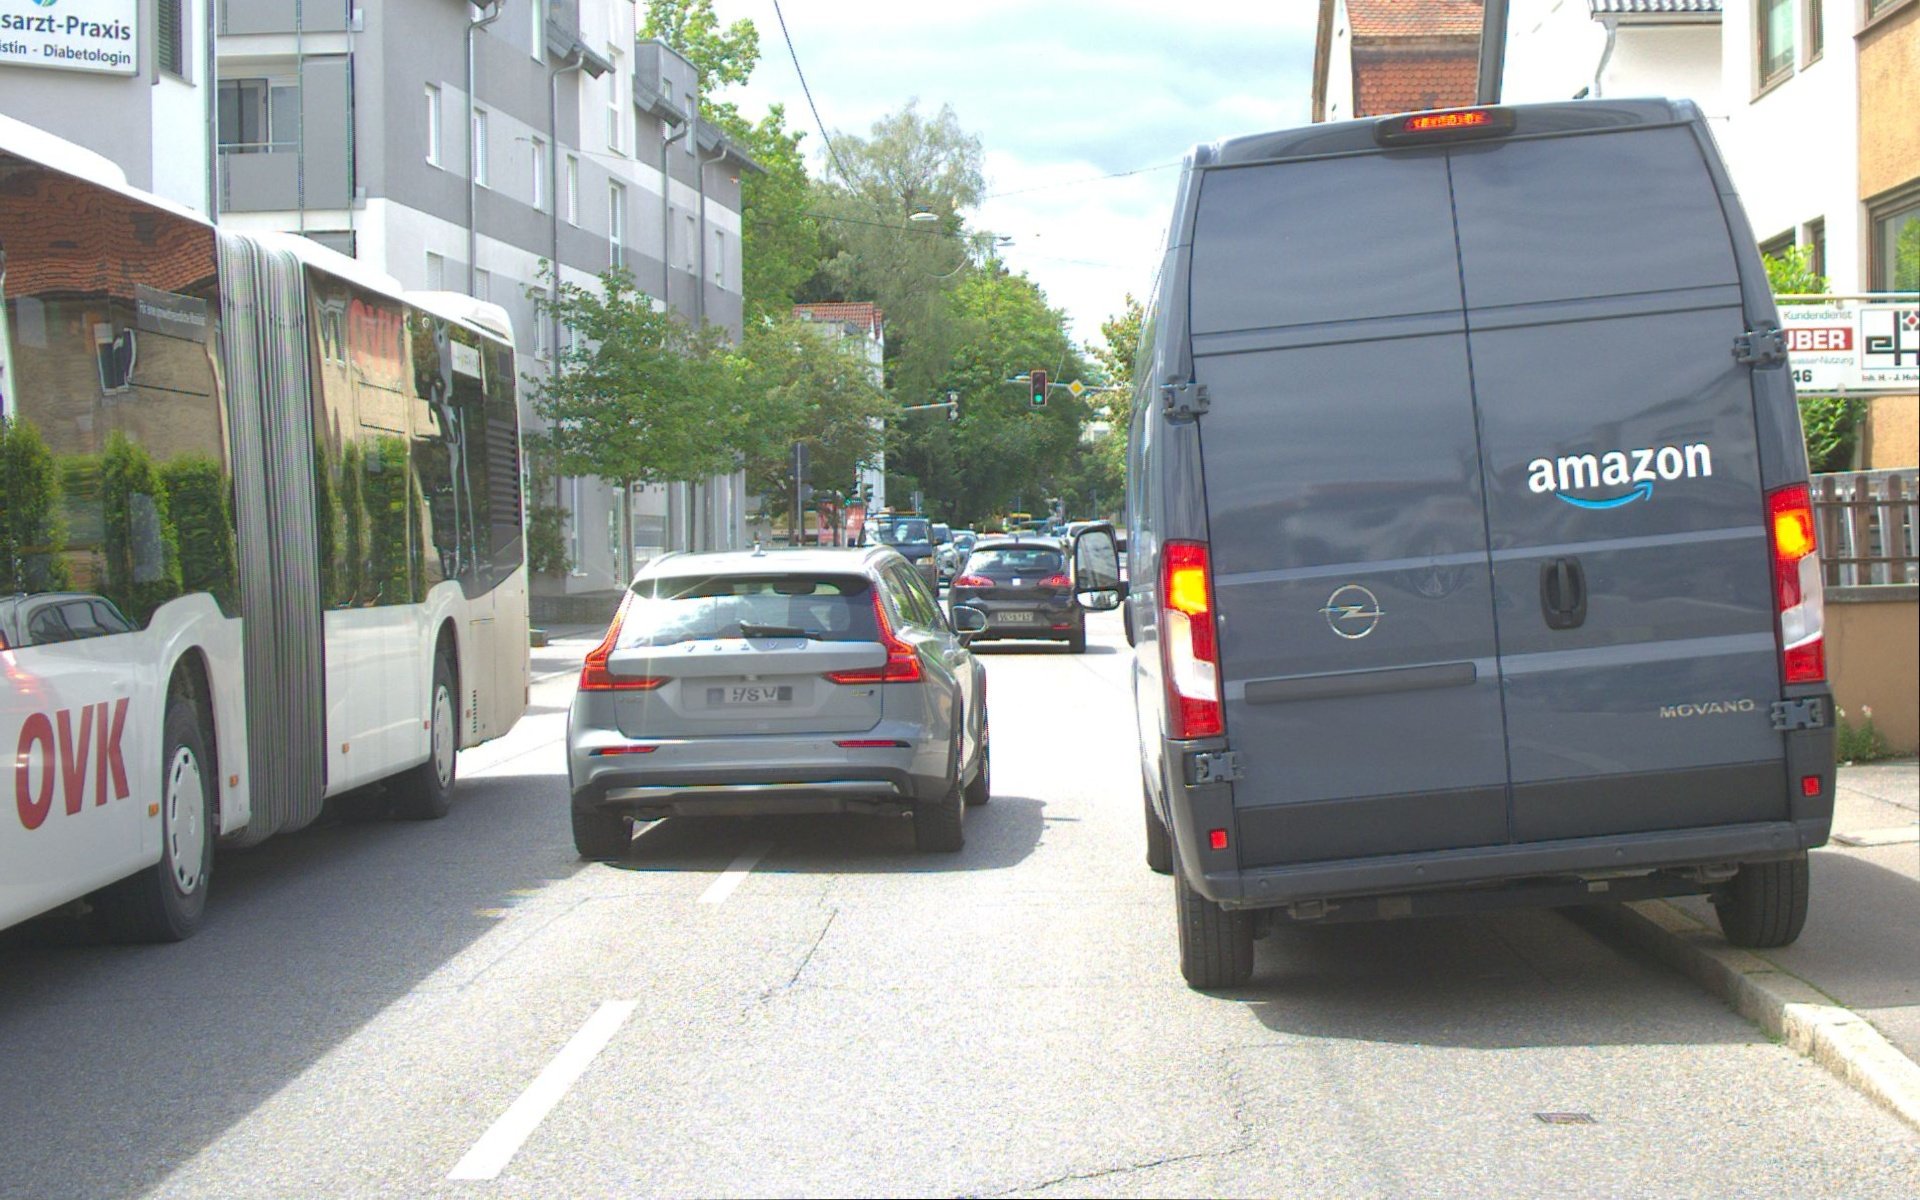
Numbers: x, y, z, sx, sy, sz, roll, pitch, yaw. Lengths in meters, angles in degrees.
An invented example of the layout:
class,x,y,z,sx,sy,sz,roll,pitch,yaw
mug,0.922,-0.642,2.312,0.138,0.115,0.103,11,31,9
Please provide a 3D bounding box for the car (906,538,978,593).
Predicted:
class,x,y,z,sx,sy,sz,roll,pitch,yaw
car,-0.529,-1.057,104.423,2.105,1.590,4.650,-1,1,1

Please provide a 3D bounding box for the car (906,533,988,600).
class,x,y,z,sx,sy,sz,roll,pitch,yaw
car,-0.325,-0.927,92.452,2.105,1.704,4.766,-1,1,1

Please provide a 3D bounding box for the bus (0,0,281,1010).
class,x,y,z,sx,sy,sz,roll,pitch,yaw
bus,-4.278,-0.293,9.623,2.682,3.153,10.185,-1,1,0

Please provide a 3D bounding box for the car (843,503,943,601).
class,x,y,z,sx,sy,sz,roll,pitch,yaw
car,-1.524,-1.139,80.031,2.105,2.114,4.766,-3,1,1

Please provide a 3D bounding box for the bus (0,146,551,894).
class,x,y,z,sx,sy,sz,roll,pitch,yaw
bus,-4.185,-0.398,18.649,2.716,3.153,8.068,-1,1,2

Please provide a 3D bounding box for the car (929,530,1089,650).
class,x,y,z,sx,sy,sz,roll,pitch,yaw
car,0.670,-0.166,43.987,1.896,1.441,3.968,-1,1,3

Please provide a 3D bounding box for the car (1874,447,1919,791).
class,x,y,z,sx,sy,sz,roll,pitch,yaw
car,5.384,0.097,14.426,1.860,1.606,4.586,-2,1,1

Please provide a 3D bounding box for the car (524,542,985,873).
class,x,y,z,sx,sy,sz,roll,pitch,yaw
car,-0.910,0.452,17.420,1.896,1.448,3.968,-1,1,3

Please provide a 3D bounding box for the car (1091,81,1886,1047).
class,x,y,z,sx,sy,sz,roll,pitch,yaw
car,1.646,-0.151,12.817,2.253,2.786,5.569,-1,1,2

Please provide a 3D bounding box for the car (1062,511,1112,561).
class,x,y,z,sx,sy,sz,roll,pitch,yaw
car,5.320,-2.667,143.504,1.994,2.007,4.000,-1,1,3
